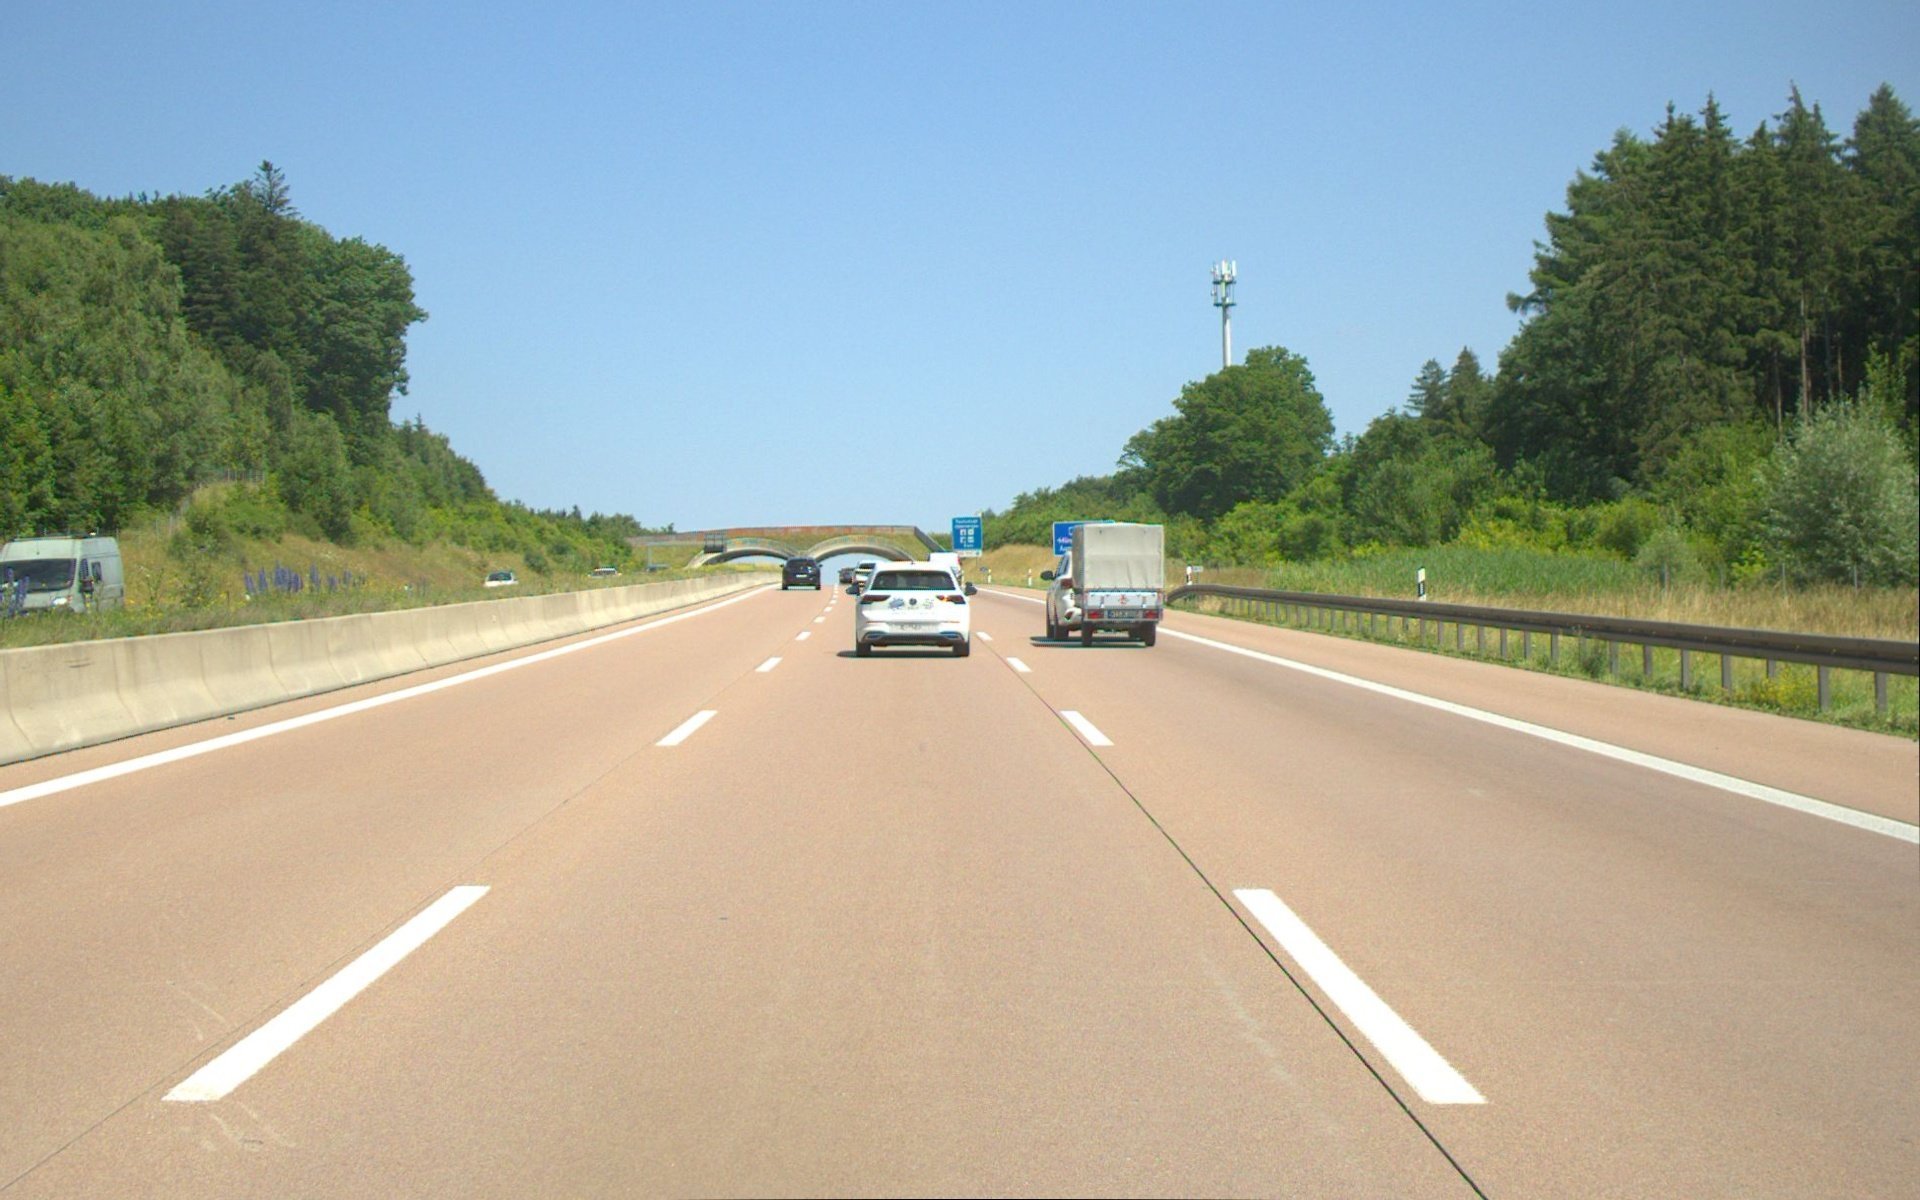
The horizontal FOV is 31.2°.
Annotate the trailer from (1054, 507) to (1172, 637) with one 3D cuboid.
[{"bbox_3d":[2.602,-0.483,59.139,1.657,2.156,4.016,0,0,-3],"label":"trailer"}]

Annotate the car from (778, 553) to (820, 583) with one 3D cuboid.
[{"bbox_3d":[-7.938,-1.601,169.754,1.891,1.458,4.000,0,1,0],"label":"car"}]

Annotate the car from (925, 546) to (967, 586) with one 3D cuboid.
[{"bbox_3d":[-0.714,-1.770,177.778,2.110,2.047,4.000,0,1,0],"label":"car"}]

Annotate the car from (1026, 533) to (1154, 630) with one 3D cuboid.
[{"bbox_3d":[2.355,-0.355,63.681,1.890,1.722,5.187,0,1,-3],"label":"car"}]

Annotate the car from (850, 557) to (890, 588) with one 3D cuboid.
[{"bbox_3d":[-4.347,-1.350,165.539,1.890,1.458,4.000,0,1,-1],"label":"car"}]

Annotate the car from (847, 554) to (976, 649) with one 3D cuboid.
[{"bbox_3d":[-0.792,0.004,53.134,1.890,1.393,4.000,1,1,-2],"label":"car"}]

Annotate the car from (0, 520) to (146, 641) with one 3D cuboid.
[{"bbox_3d":[-20.561,-0.491,79.145,2.232,2.677,6.888,0,1,-2],"label":"car"}]
